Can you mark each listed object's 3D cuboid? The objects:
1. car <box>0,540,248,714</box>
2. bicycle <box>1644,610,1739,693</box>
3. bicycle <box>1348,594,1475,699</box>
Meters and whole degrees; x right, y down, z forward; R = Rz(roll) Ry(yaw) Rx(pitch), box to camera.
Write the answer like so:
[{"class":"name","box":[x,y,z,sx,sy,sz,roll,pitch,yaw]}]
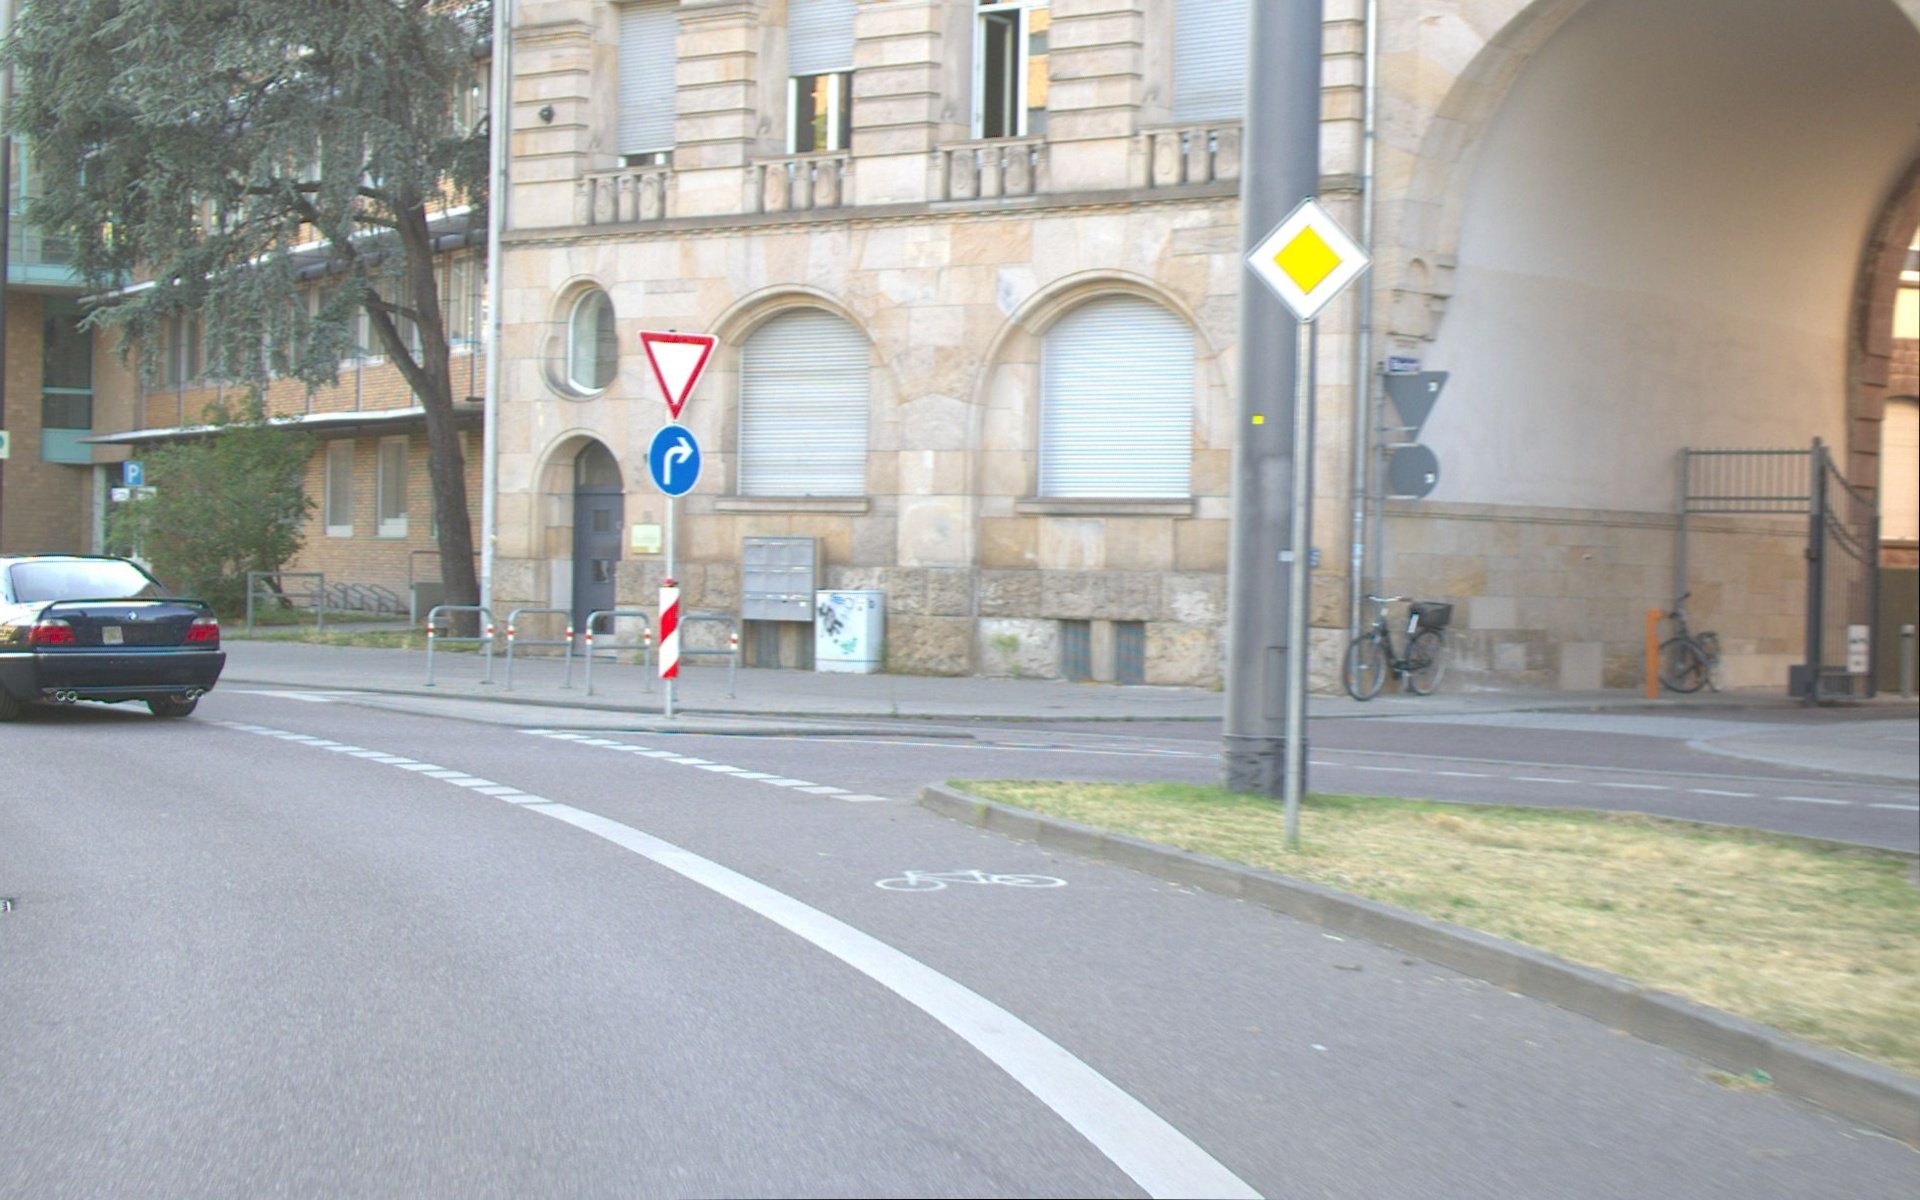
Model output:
[{"class":"car","box":[-7.970,0.254,29.756,1.830,1.349,4.640,3,-2,-35]},{"class":"bicycle","box":[8.825,0.611,41.446,0.481,0.952,1.509,3,2,38]},{"class":"bicycle","box":[4.851,0.485,36.841,0.429,1.069,1.852,3,2,38]}]
